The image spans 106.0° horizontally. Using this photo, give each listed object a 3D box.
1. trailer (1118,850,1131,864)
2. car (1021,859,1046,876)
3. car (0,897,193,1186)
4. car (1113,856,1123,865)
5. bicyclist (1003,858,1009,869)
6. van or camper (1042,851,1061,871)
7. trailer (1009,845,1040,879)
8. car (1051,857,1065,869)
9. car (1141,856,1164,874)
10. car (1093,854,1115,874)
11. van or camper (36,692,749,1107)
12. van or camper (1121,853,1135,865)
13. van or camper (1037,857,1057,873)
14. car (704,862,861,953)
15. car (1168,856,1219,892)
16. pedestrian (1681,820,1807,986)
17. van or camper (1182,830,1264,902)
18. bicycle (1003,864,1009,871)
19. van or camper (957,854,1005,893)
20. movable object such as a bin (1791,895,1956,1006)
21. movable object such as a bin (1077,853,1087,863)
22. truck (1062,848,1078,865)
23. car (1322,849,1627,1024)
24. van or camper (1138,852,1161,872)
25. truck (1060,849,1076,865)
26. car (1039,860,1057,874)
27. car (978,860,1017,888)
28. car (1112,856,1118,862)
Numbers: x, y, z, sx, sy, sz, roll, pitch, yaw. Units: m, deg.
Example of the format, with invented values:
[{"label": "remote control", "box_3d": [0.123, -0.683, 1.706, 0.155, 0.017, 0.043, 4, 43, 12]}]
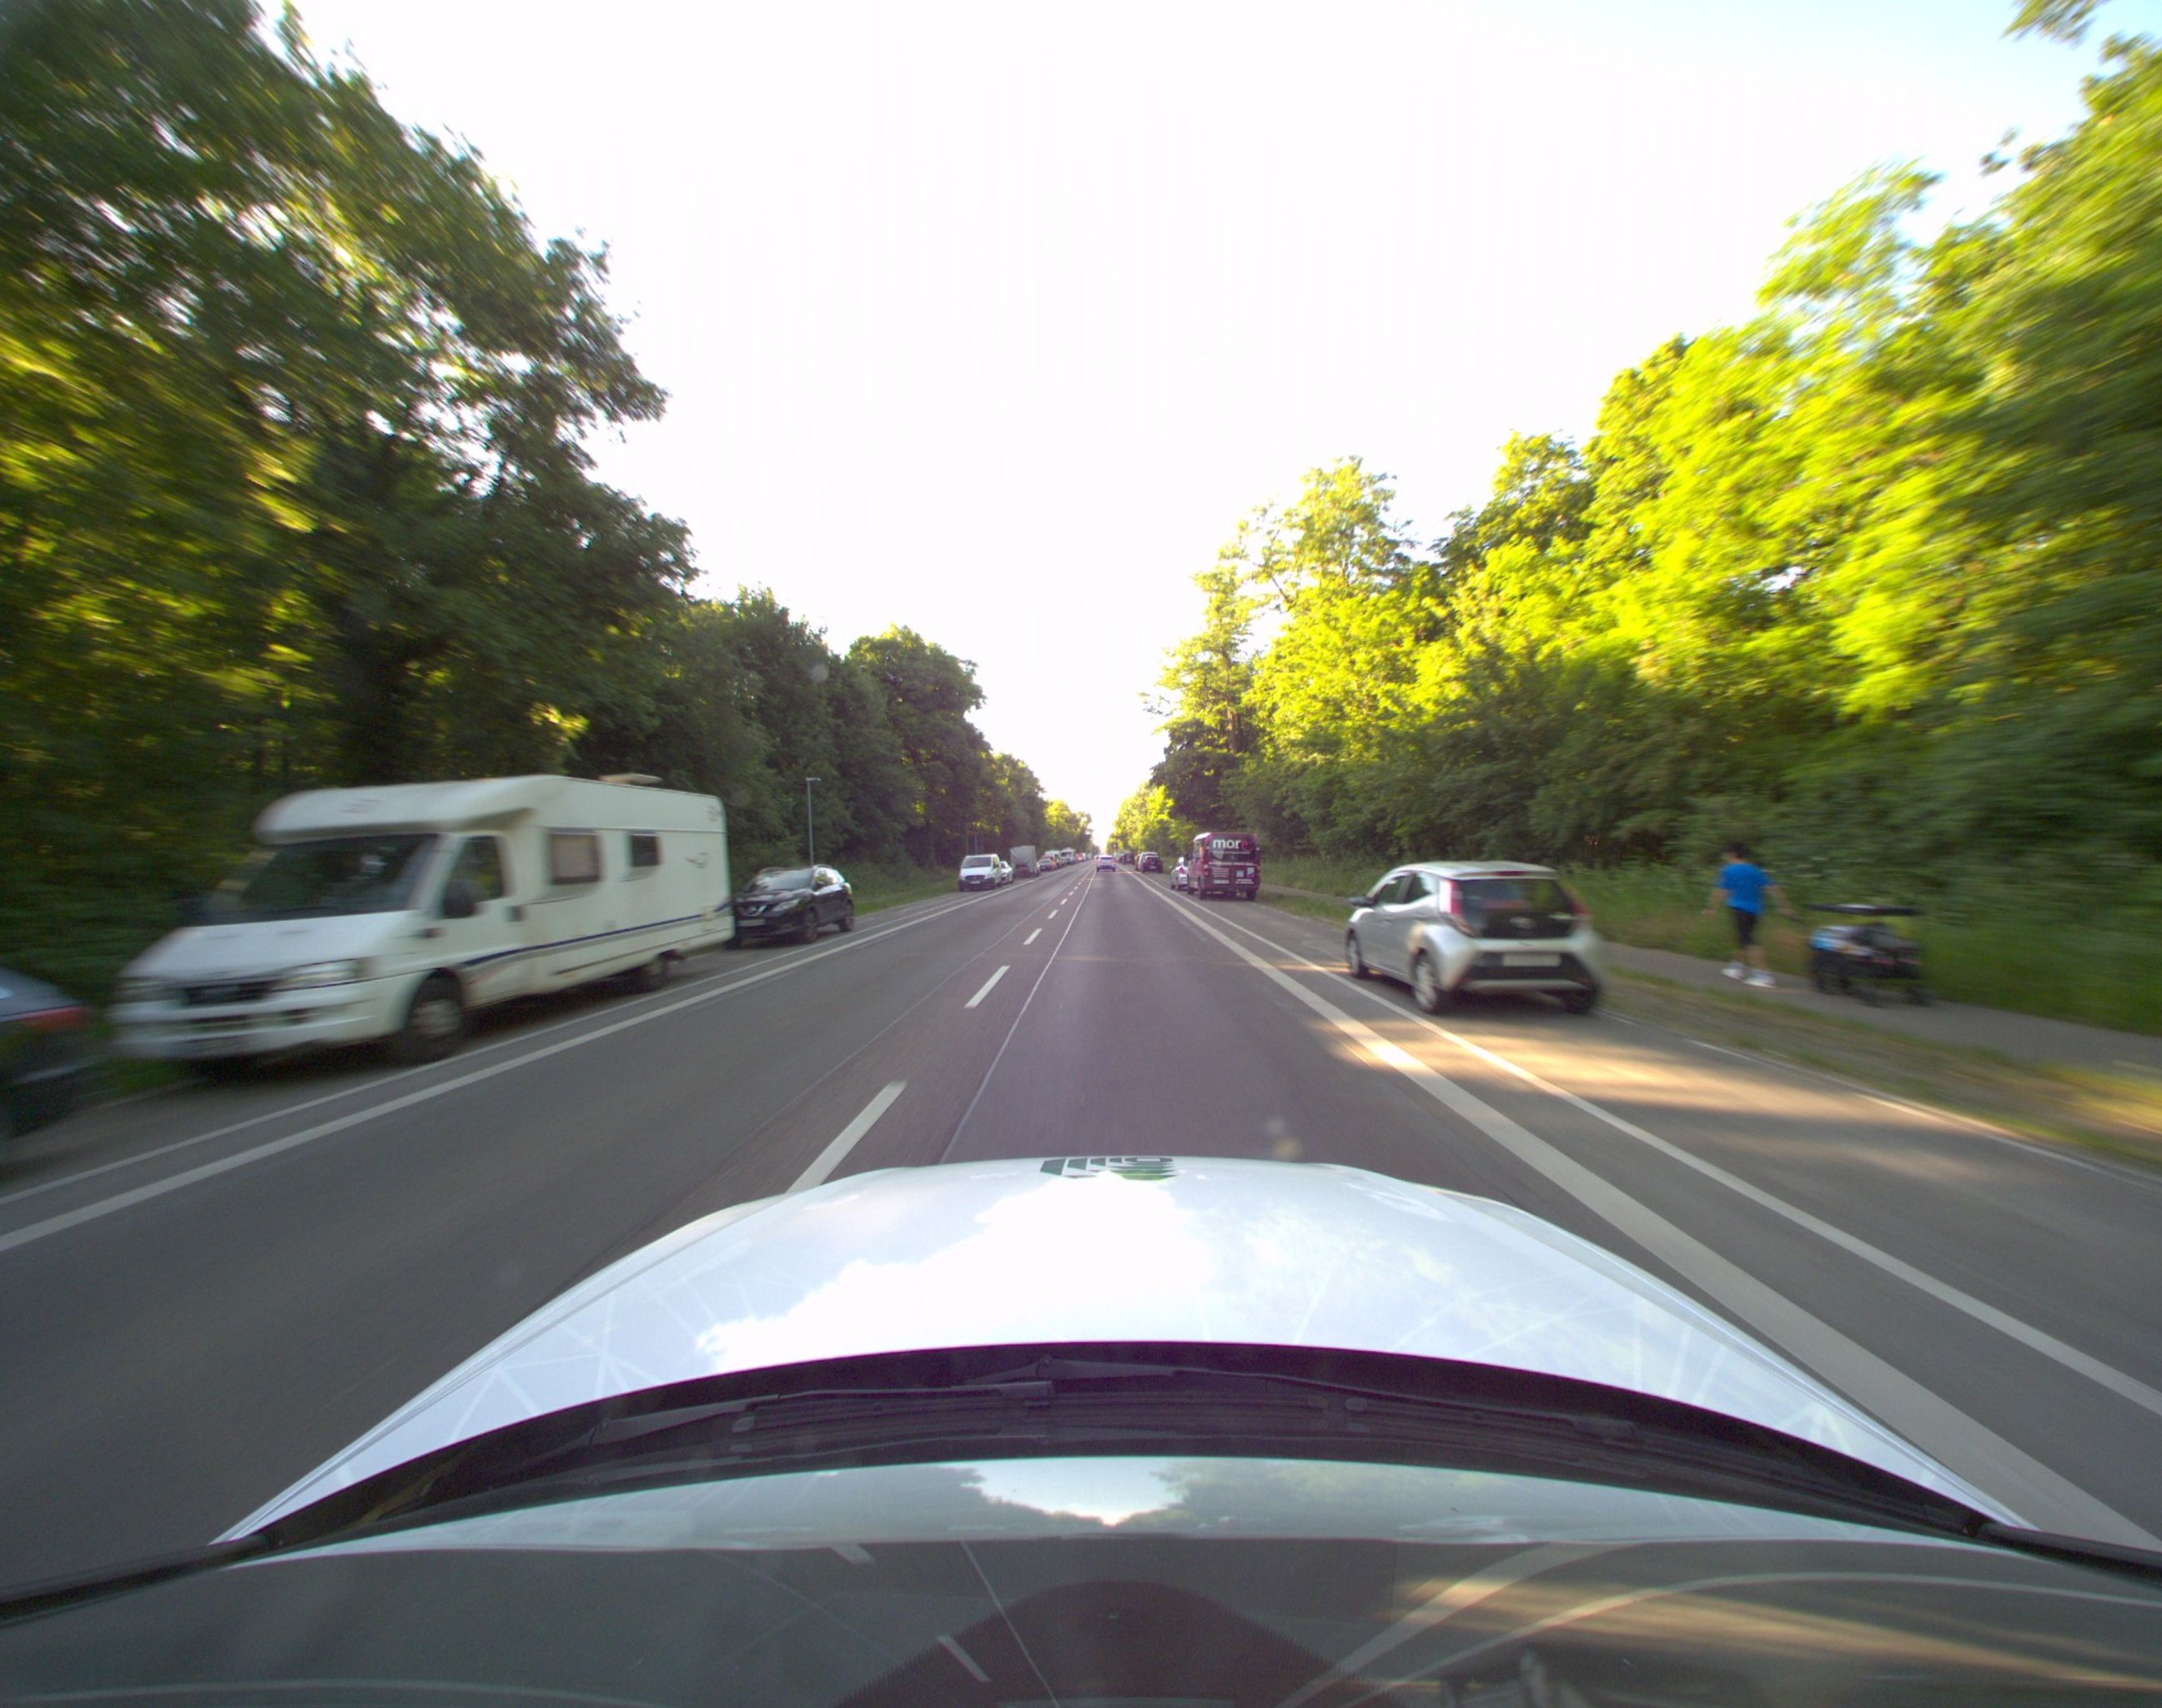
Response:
[{"label": "trailer", "box_3d": [9.334, 0.582, 175.282, 2.747, 2.870, 6.591, -1, 0, 2]}, {"label": "car", "box_3d": [-4.277, 1.200, 73.819, 1.791, 1.453, 4.627, -3, 0, 2]}, {"label": "car", "box_3d": [-6.594, 1.050, 2.861, 1.822, 1.476, 4.678, -3, 0, -1]}, {"label": "car", "box_3d": [6.964, 1.166, 153.212, 1.834, 1.662, 4.002, -1, 0, 2]}, {"label": "bicyclist", "box_3d": [-8.171, 1.047, 88.950, 0.485, 1.235, 0.974, -1, 0, 2]}, {"label": "van or camper", "box_3d": [-3.978, 0.907, 111.517, 2.113, 2.572, 6.545, -2, 0, 2]}, {"label": "trailer", "box_3d": [-4.569, 0.660, 66.606, 1.986, 2.597, 4.417, -4, 0, 2]}, {"label": "car", "box_3d": [-3.415, 1.301, 123.340, 1.774, 1.684, 4.380, -3, 0, 2]}, {"label": "car", "box_3d": [6.158, 0.932, 70.444, 1.684, 1.524, 4.151, 0, 0, 2]}, {"label": "car", "box_3d": [2.223, 0.933, 78.365, 2.021, 1.840, 4.031, -2, 0, 2]}, {"label": "van or camper", "box_3d": [-6.612, 0.343, 9.668, 2.308, 2.970, 7.108, -4, 0, -1]}, {"label": "van or camper", "box_3d": [7.487, 0.814, 130.329, 1.986, 1.932, 5.201, 0, 0, 2]}, {"label": "van or camper", "box_3d": [-4.144, 1.299, 100.236, 1.915, 1.867, 4.865, -3, 0, 2]}, {"label": "car", "box_3d": [-6.295, 1.045, 17.757, 1.640, 1.632, 4.275, -3, 0, 2]}, {"label": "car", "box_3d": [5.060, 0.864, 37.192, 1.742, 1.515, 3.999, 1, 0, 0]}, {"label": "pedestrian", "box_3d": [8.101, 0.572, 9.995, 0.765, 1.918, 0.920, -1, 0, 1]}, {"label": "van or camper", "box_3d": [5.142, 0.398, 30.350, 2.028, 2.312, 6.041, -2, 0, 1]}, {"label": "bicycle", "box_3d": [-8.165, 1.473, 88.919, 0.520, 0.712, 1.488, -1, 0, 2]}, {"label": "van or camper", "box_3d": [-5.314, 0.986, 43.878, 1.829, 1.911, 4.856, -3, 0, 1]}, {"label": "movable object such as a bin", "box_3d": [8.407, 0.998, 8.688, 0.786, 1.047, 0.987, -1, 0, 1]}, {"label": "movable object such as a bin", "box_3d": [0.276, 1.106, 218.798, 2.313, 2.502, 4.001, -1, 0, 1]}, {"label": "truck", "box_3d": [-2.299, 0.573, 171.430, 2.697, 3.347, 10.927, -1, 0, 2]}, {"label": "car", "box_3d": [4.127, 0.738, 9.324, 1.705, 1.545, 4.025, 1, 0, 3]}, {"label": "van or camper", "box_3d": [6.417, 0.711, 76.948, 1.944, 1.815, 4.382, -1, 0, 2]}, {"label": "truck", "box_3d": [-2.485, 0.549, 159.451, 2.697, 3.093, 7.992, -1, 0, 2]}, {"label": "car", "box_3d": [-3.750, 1.428, 93.557, 1.725, 1.478, 4.326, -3, 0, 2]}, {"label": "car", "box_3d": [-5.163, 1.191, 50.816, 1.768, 1.540, 4.525, -3, 0, 1]}, {"label": "car", "box_3d": [8.892, 1.393, 212.221, 1.650, 1.478, 3.755, -1, 0, 2]}]
